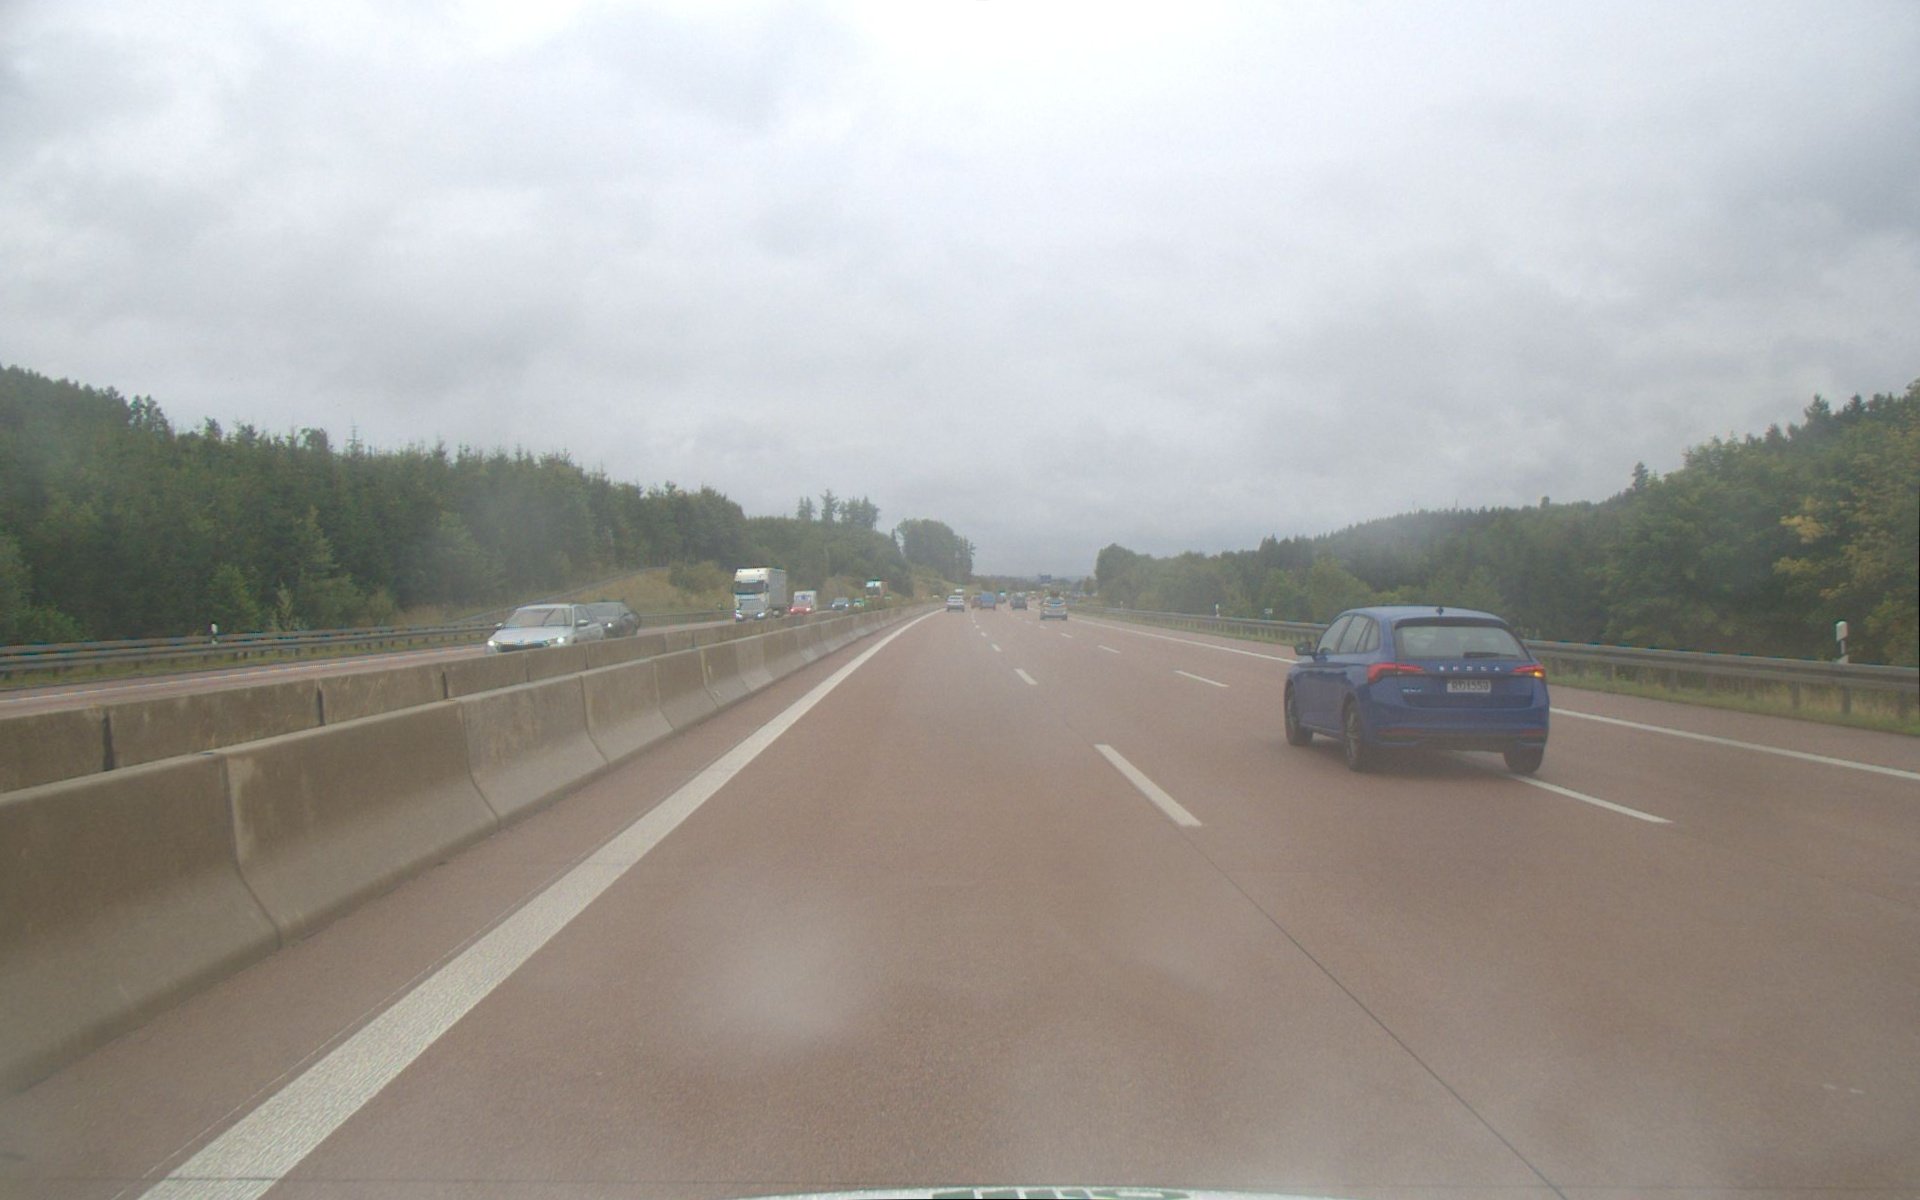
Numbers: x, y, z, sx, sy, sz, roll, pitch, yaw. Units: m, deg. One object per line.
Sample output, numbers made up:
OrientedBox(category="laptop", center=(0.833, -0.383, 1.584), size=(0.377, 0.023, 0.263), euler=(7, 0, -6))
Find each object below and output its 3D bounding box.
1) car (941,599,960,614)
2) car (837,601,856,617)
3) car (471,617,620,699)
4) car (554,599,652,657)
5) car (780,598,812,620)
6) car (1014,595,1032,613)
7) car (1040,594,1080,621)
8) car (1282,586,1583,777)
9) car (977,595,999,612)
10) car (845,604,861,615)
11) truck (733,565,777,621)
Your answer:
OrientedBox(category="car", center=(-0.967, 0.645, 168.900), size=(1.836, 1.470, 4.875), euler=(1, -1, -2))
OrientedBox(category="car", center=(-11.855, 0.967, 173.099), size=(1.657, 1.584, 5.676), euler=(-2, 0, 0))
OrientedBox(category="car", center=(-8.694, 1.189, 35.154), size=(1.953, 1.587, 4.945), euler=(1, -1, -1))
OrientedBox(category="car", center=(-12.542, 0.997, 58.494), size=(2.234, 1.894, 5.727), euler=(1, -1, -1))
OrientedBox(category="car", center=(-12.609, 0.674, 127.341), size=(1.953, 1.572, 4.279), euler=(-2, -1, 0))
OrientedBox(category="car", center=(7.689, 0.517, 202.241), size=(1.953, 2.049, 3.998), euler=(1, -1, -2))
OrientedBox(category="car", center=(6.992, 0.515, 115.911), size=(2.276, 1.780, 4.874), euler=(1, -1, -2))
OrientedBox(category="car", center=(4.426, 0.728, 16.139), size=(1.735, 1.591, 4.146), euler=(1, -1, 0))
OrientedBox(category="car", center=(3.187, 0.392, 188.607), size=(2.276, 1.780, 4.874), euler=(1, -1, -2))
OrientedBox(category="car", center=(-15.321, 1.364, 237.790), size=(1.953, 1.603, 4.524), euler=(-1, -1, 0))
OrientedBox(category="truck", center=(-16.255, -0.516, 131.682), size=(2.712, 4.249, 6.000), euler=(-1, -1, 0))
